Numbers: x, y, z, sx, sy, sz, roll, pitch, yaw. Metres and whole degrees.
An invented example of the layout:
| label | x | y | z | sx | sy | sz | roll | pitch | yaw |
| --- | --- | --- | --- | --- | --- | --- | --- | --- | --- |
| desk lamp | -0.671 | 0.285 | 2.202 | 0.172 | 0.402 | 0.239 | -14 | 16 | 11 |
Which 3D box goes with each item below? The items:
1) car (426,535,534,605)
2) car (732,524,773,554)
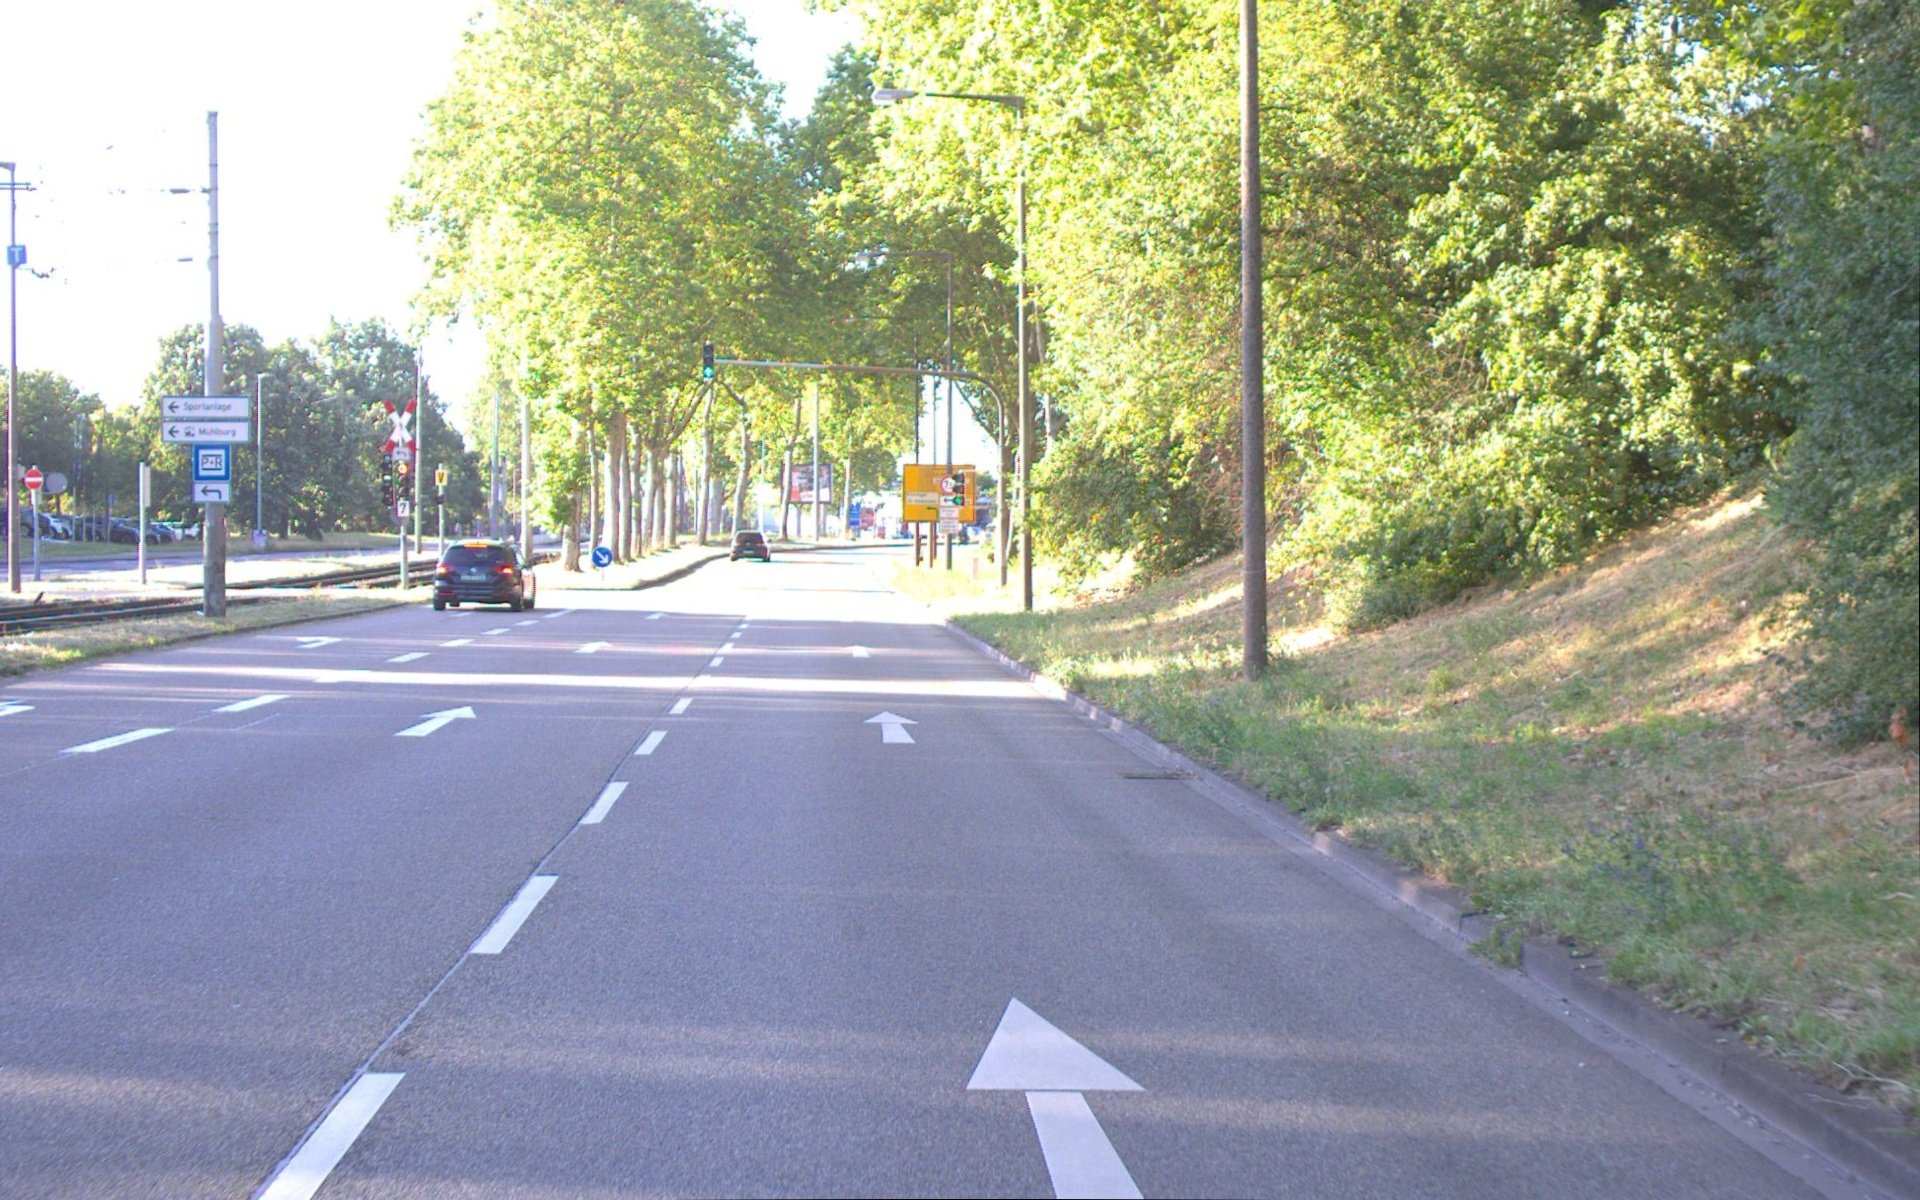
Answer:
| label | x | y | z | sx | sy | sz | roll | pitch | yaw |
| --- | --- | --- | --- | --- | --- | --- | --- | --- | --- |
| car | -9.884 | -0.624 | 71.050 | 1.792 | 1.398 | 3.689 | 0 | 1 | -1 |
| car | -9.834 | -2.873 | 163.152 | 1.792 | 1.398 | 3.689 | 0 | 1 | -1 |
